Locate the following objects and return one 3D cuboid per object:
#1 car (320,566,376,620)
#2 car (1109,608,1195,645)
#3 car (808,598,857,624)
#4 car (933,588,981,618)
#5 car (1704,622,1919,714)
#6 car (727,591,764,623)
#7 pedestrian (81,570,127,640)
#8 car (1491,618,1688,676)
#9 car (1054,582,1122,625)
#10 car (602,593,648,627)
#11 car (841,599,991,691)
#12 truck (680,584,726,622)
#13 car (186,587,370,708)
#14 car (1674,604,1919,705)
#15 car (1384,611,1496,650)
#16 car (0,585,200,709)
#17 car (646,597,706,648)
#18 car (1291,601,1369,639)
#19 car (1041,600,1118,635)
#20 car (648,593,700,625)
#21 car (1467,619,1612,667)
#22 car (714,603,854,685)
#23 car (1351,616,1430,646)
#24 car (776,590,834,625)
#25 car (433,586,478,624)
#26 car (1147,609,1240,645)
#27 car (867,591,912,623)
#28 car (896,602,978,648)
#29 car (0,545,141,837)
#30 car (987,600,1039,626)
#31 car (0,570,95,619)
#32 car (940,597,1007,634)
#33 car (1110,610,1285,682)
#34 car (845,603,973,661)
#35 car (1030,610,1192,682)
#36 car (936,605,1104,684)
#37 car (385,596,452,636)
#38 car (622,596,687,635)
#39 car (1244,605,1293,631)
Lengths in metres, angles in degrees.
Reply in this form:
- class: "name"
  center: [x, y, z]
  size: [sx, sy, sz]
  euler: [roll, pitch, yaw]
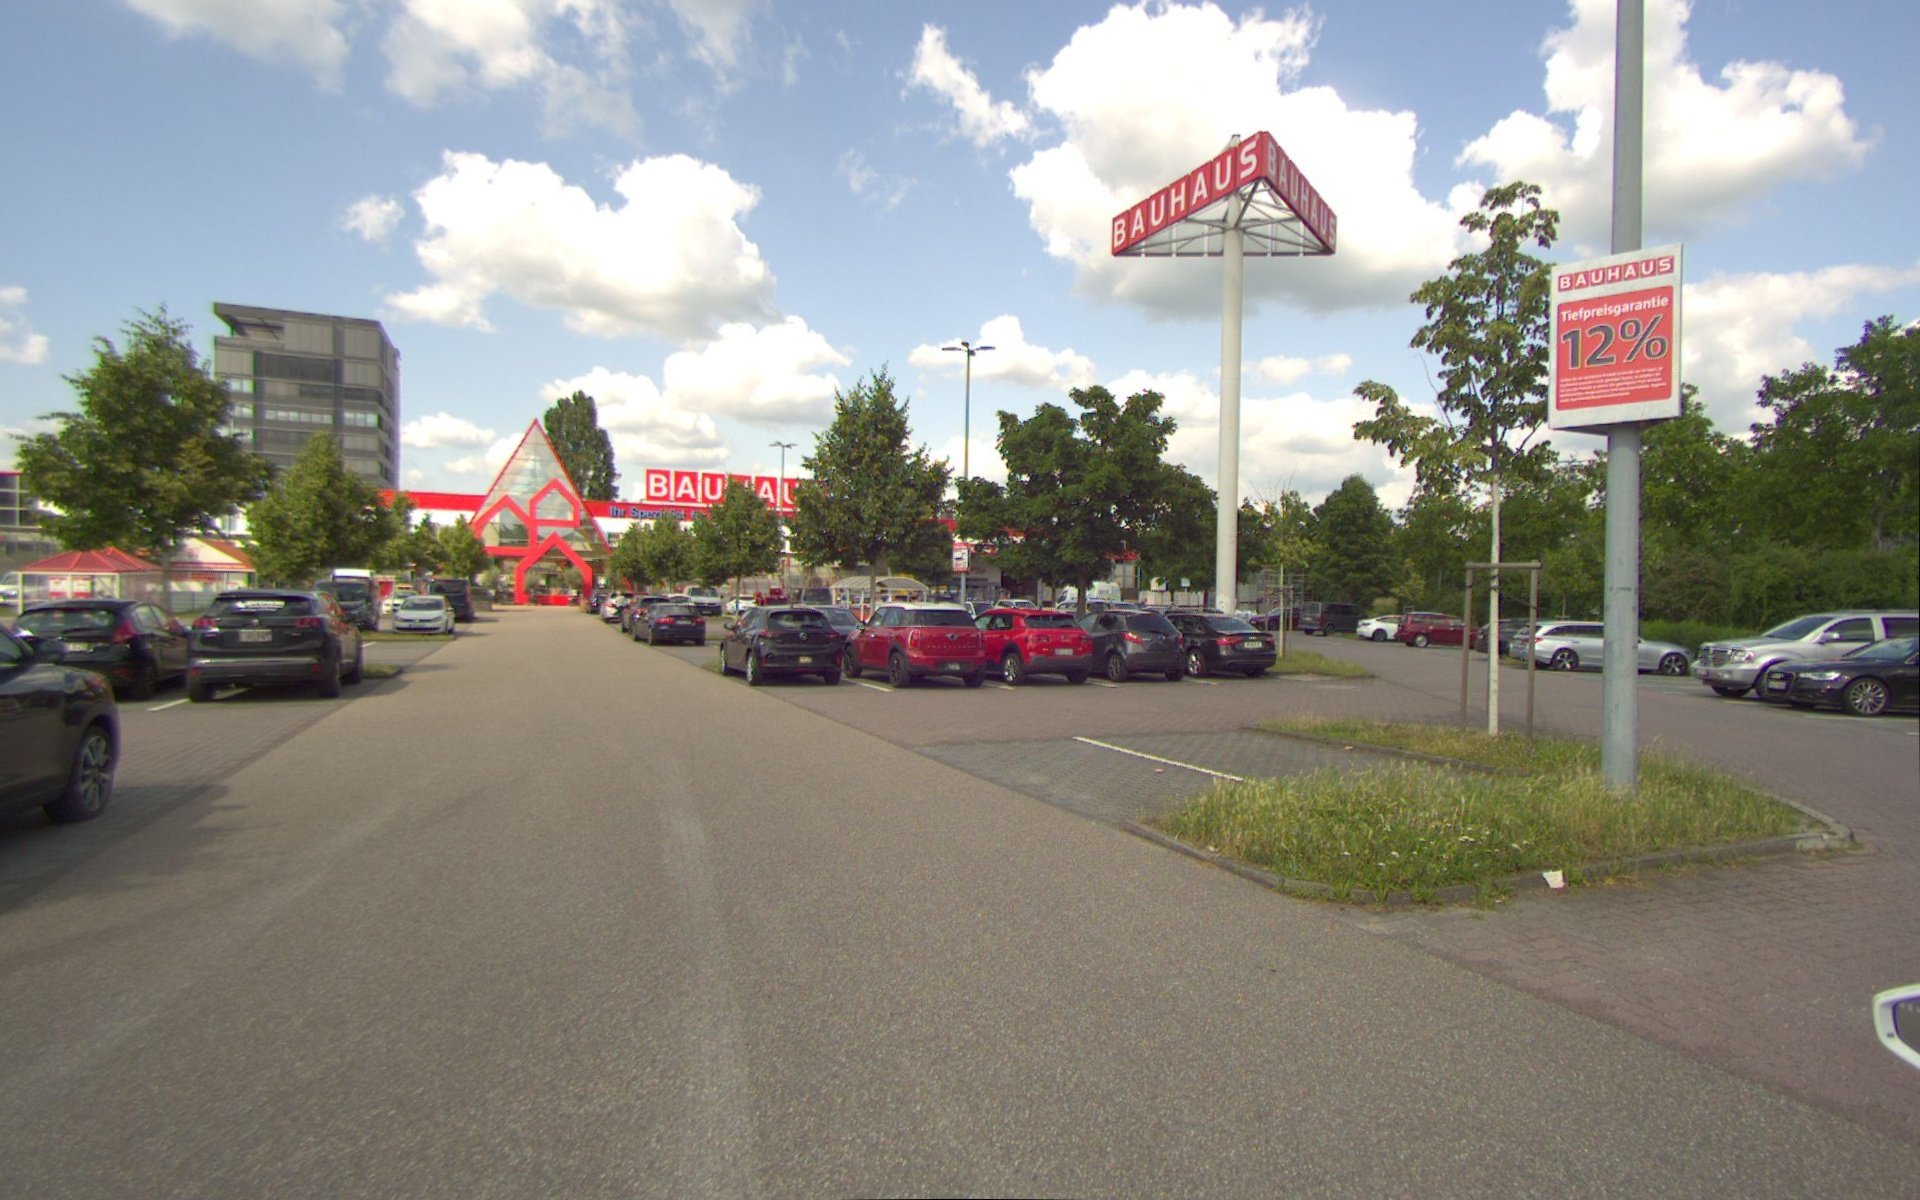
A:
- class: "car"
  center: [-31.952, -0.354, 52.571]
  size: [2.212, 2.671, 4.297]
  euler: [2, 0, -29]
- class: "car"
  center: [8.203, 1.105, 43.195]
  size: [1.703, 1.466, 3.746]
  euler: [1, 0, -28]
- class: "car"
  center: [-7.640, 0.641, 59.925]
  size: [1.721, 1.357, 3.440]
  euler: [4, -2, -28]
- class: "car"
  center: [-0.257, 0.194, 74.717]
  size: [1.974, 2.040, 3.974]
  euler: [4, -2, -26]
- class: "car"
  center: [16.397, 1.198, 17.937]
  size: [4.629, 1.470, 1.841]
  euler: [1, 0, 12]
- class: "car"
  center: [-15.187, 0.485, 71.023]
  size: [1.970, 2.040, 3.983]
  euler: [4, -2, -19]
- class: "pedestrian"
  center: [-25.311, 0.152, 29.707]
  size: [0.806, 2.040, 0.909]
  euler: [1, 0, -25]
- class: "car"
  center: [18.453, 1.353, 29.646]
  size: [4.559, 1.524, 1.786]
  euler: [1, 0, 10]
- class: "car"
  center: [7.948, 0.183, 62.625]
  size: [2.024, 2.543, 4.701]
  euler: [2, 0, -23]
- class: "car"
  center: [-16.656, 0.494, 49.849]
  size: [1.706, 1.528, 3.216]
  euler: [4, -2, -25]
- class: "car"
  center: [-0.943, 0.805, 19.583]
  size: [1.687, 1.602, 3.425]
  euler: [1, 0, -26]
- class: "truck"
  center: [-15.160, 0.175, 59.054]
  size: [1.834, 2.040, 5.380]
  euler: [4, -2, -22]
- class: "car"
  center: [-10.595, 0.650, 15.900]
  size: [1.760, 1.646, 4.058]
  euler: [1, 0, -25]
- class: "car"
  center: [17.701, 1.054, 20.225]
  size: [5.043, 1.867, 1.992]
  euler: [1, 0, 9]
- class: "car"
  center: [21.917, 1.361, 46.033]
  size: [4.232, 1.617, 2.001]
  euler: [1, 0, 9]
- class: "car"
  center: [-13.009, 0.621, 15.275]
  size: [1.762, 1.646, 3.678]
  euler: [1, 0, -29]
- class: "car"
  center: [-9.791, 0.742, 34.476]
  size: [1.675, 1.624, 3.205]
  euler: [1, 0, -21]
- class: "car"
  center: [21.814, 1.205, 59.282]
  size: [3.996, 2.045, 1.938]
  euler: [3, -1, -20]
- class: "car"
  center: [5.716, 0.815, 48.629]
  size: [1.885, 1.617, 3.974]
  euler: [1, 0, -25]
- class: "car"
  center: [-14.847, 0.448, 52.004]
  size: [1.973, 1.529, 3.974]
  euler: [1, 0, -25]
- class: "car"
  center: [19.760, 1.472, 34.400]
  size: [3.919, 1.399, 1.700]
  euler: [3, -2, 9]
- class: "car"
  center: [-3.532, 0.790, 19.603]
  size: [1.706, 1.387, 3.859]
  euler: [1, 0, -26]
- class: "car"
  center: [22.926, 1.646, 53.580]
  size: [3.570, 1.487, 1.635]
  euler: [2, -1, 10]
- class: "car"
  center: [-8.430, 0.381, 54.316]
  size: [1.974, 1.802, 3.973]
  euler: [1, 0, -26]
- class: "car"
  center: [-23.601, 0.242, 46.964]
  size: [1.676, 1.635, 2.637]
  euler: [4, -2, -29]
- class: "car"
  center: [10.310, 1.183, 44.642]
  size: [1.805, 1.458, 4.061]
  euler: [1, 0, -28]
- class: "car"
  center: [-4.031, 0.366, 57.042]
  size: [1.580, 1.767, 3.147]
  euler: [0, 0, -25]
- class: "car"
  center: [-0.937, 0.936, 38.778]
  size: [1.730, 1.636, 3.698]
  euler: [1, 0, -27]
- class: "car"
  center: [-6.208, 0.501, 5.350]
  size: [1.710, 1.646, 3.943]
  euler: [1, 0, -22]
- class: "car"
  center: [3.117, 0.755, 59.507]
  size: [1.522, 1.423, 3.603]
  euler: [4, -2, -25]
- class: "car"
  center: [-41.950, -0.236, 46.079]
  size: [1.973, 2.040, 4.779]
  euler: [4, -2, -24]
- class: "car"
  center: [0.574, 0.716, 47.683]
  size: [1.696, 1.617, 3.977]
  euler: [1, 0, -23]
- class: "car"
  center: [5.439, 1.016, 23.656]
  size: [1.746, 1.452, 4.519]
  euler: [1, 0, -22]
- class: "car"
  center: [-1.450, 0.808, 26.721]
  size: [1.869, 1.371, 4.253]
  euler: [1, 0, -26]
- class: "car"
  center: [3.207, 0.944, 22.130]
  size: [1.558, 1.387, 3.974]
  euler: [1, 0, -26]
- class: "car"
  center: [1.136, 0.858, 20.957]
  size: [1.743, 1.417, 4.061]
  euler: [1, 0, -26]
- class: "car"
  center: [-19.984, 0.556, 37.186]
  size: [1.718, 1.405, 3.543]
  euler: [1, 0, -21]
- class: "car"
  center: [-12.619, 0.604, 41.311]
  size: [1.973, 1.487, 4.389]
  euler: [1, 0, -24]
- class: "car"
  center: [19.459, 1.120, 63.397]
  size: [2.647, 1.450, 1.350]
  euler: [4, -2, -16]
